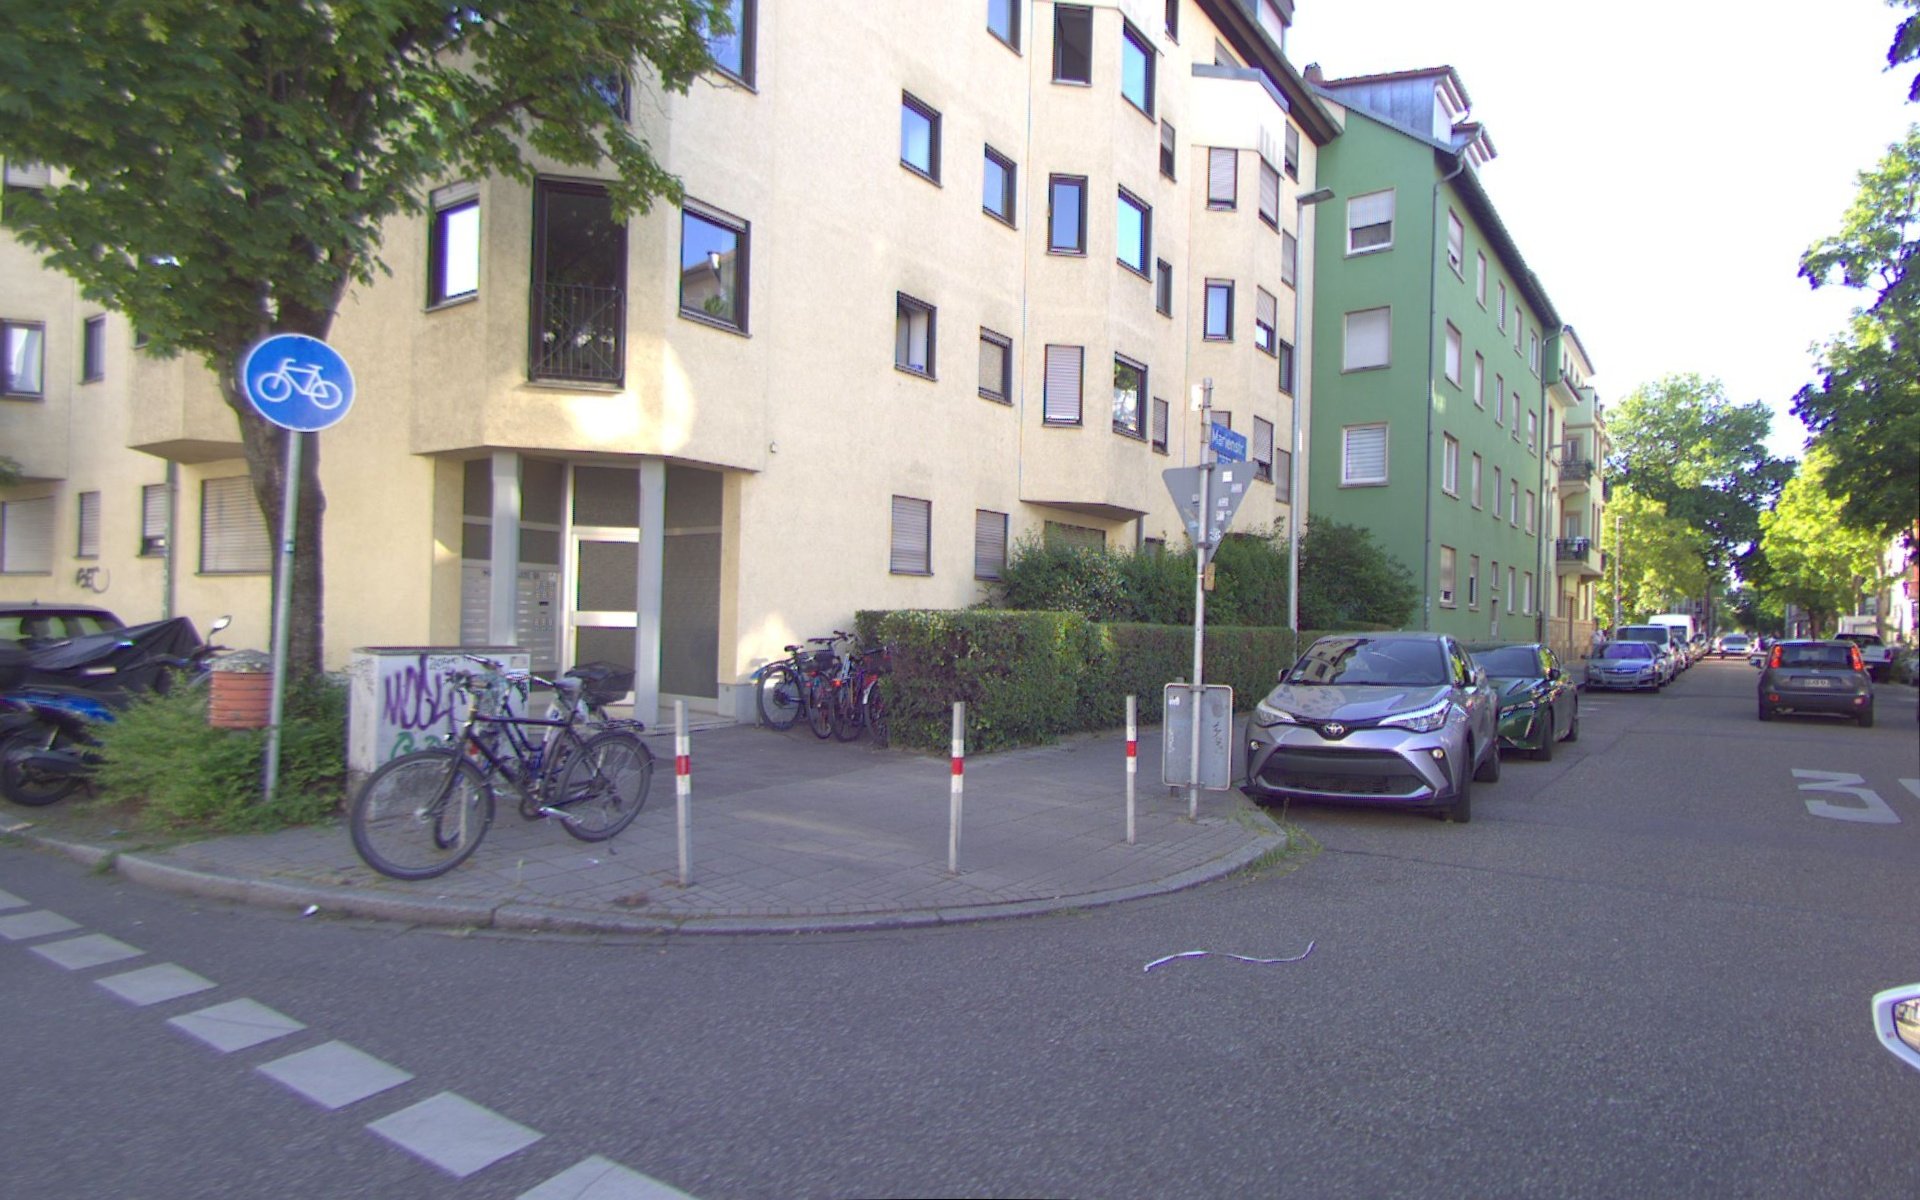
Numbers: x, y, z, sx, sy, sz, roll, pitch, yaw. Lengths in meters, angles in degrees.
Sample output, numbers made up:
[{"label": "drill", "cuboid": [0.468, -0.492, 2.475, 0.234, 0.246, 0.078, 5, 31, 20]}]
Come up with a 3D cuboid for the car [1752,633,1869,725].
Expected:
[{"label": "car", "cuboid": [16.019, 1.430, 19.048, 1.537, 1.553, 3.473, 0, -2, 38]}]

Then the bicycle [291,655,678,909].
[{"label": "bicycle", "cuboid": [-2.509, 0.884, 5.552, 0.585, 1.099, 1.878, 2, 0, 33]}]

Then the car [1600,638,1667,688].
[{"label": "car", "cuboid": [22.170, 2.025, 33.002, 1.665, 1.473, 3.697, 1, -1, 36]}]

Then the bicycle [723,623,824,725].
[{"label": "bicycle", "cuboid": [-2.122, 0.817, 11.576, 0.326, 1.060, 1.391, 2, 1, 29]}]

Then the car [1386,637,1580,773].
[{"label": "car", "cuboid": [7.196, 1.273, 13.597, 1.730, 1.517, 4.121, 0, -2, 36]}]

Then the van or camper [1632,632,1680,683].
[{"label": "van or camper", "cuboid": [38.715, 3.137, 55.841, 1.968, 2.587, 5.004, 2, 0, 37]}]

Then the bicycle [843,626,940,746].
[{"label": "bicycle", "cuboid": [-0.714, 0.887, 10.841, 0.326, 1.159, 1.391, 2, 1, 29]}]

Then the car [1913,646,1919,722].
[{"label": "car", "cuboid": [18.245, 1.537, 17.716, 1.654, 1.565, 3.389, 5, 1, 38]}]

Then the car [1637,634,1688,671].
[{"label": "car", "cuboid": [31.849, 2.340, 45.514, 1.689, 1.525, 3.984, 2, 0, 38]}]

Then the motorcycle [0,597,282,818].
[{"label": "motorcycle", "cuboid": [-6.399, 0.737, 7.614, 0.707, 1.466, 1.974, 2, 0, 24]}]

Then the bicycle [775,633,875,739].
[{"label": "bicycle", "cuboid": [-1.477, 0.921, 11.202, 0.326, 1.060, 1.391, 2, 1, 29]}]

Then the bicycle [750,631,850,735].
[{"label": "bicycle", "cuboid": [-1.789, 0.903, 11.401, 0.326, 1.060, 1.391, 2, 1, 29]}]

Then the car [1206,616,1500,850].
[{"label": "car", "cuboid": [3.878, 1.033, 9.460, 1.876, 1.681, 3.991, 0, -2, 32]}]

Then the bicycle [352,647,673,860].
[{"label": "bicycle", "cuboid": [-2.741, 0.875, 6.365, 0.585, 1.099, 1.807, 2, 0, 33]}]

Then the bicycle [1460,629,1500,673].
[{"label": "bicycle", "cuboid": [15.387, 1.492, 29.681, 0.544, 1.194, 2.269, 6, 2, 38]}]

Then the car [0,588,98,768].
[{"label": "car", "cuboid": [-10.152, 0.658, 9.541, 4.055, 1.563, 1.738, 0, -1, 30]}]

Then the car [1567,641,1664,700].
[{"label": "car", "cuboid": [18.891, 1.964, 28.861, 1.954, 1.475, 4.096, 0, -1, 39]}]

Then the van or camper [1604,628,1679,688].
[{"label": "van or camper", "cuboid": [25.511, 2.109, 37.528, 1.969, 2.040, 4.891, 1, -1, 38]}]

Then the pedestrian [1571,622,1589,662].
[{"label": "pedestrian", "cuboid": [30.570, 2.065, 49.534, 0.674, 1.944, 0.616, 2, 0, 33]}]

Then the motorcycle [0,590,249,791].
[{"label": "motorcycle", "cuboid": [-7.142, 0.677, 8.224, 0.820, 1.466, 1.974, 2, 0, 25]}]

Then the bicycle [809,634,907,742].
[{"label": "bicycle", "cuboid": [-1.098, 0.932, 11.082, 0.326, 1.060, 1.391, 2, 1, 29]}]
